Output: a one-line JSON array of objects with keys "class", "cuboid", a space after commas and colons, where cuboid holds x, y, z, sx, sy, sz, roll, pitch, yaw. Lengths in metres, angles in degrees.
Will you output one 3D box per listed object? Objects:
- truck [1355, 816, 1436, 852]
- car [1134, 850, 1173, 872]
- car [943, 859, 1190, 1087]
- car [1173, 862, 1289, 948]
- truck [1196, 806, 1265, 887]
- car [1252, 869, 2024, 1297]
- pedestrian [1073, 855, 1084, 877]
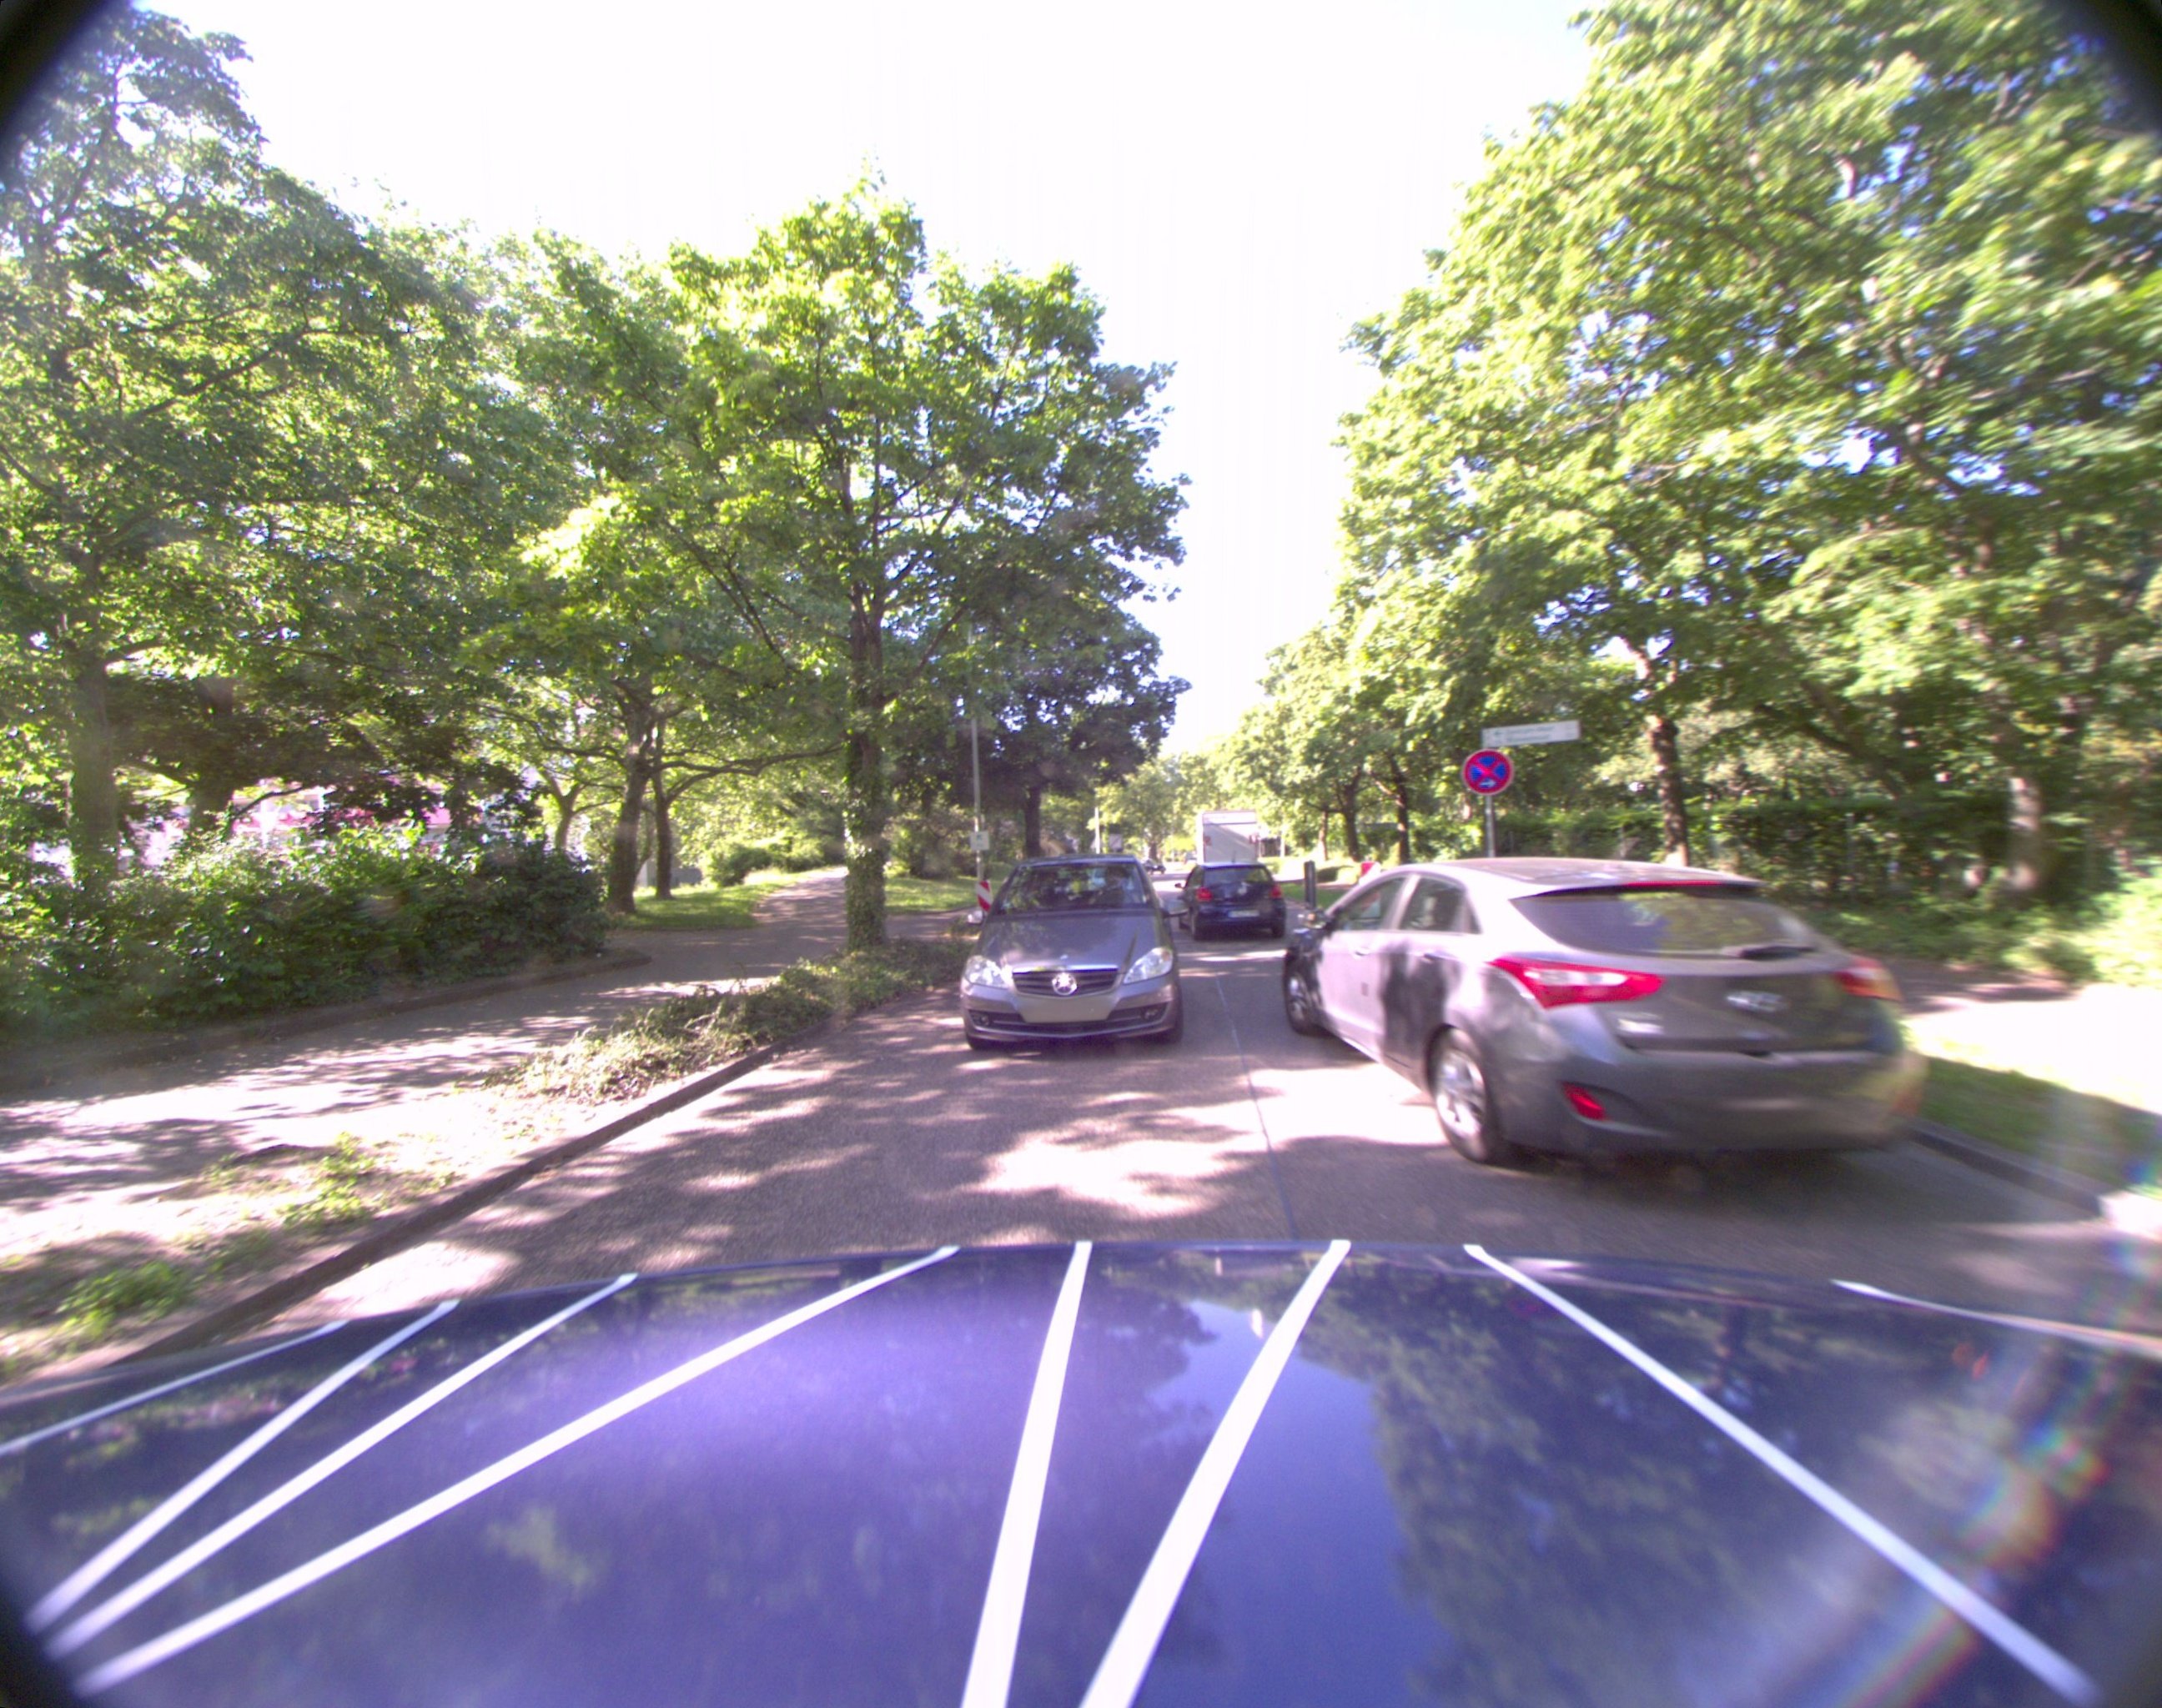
[{"class": "truck", "cuboid": [18.725, -1.136, 45.369, 3.995, 2.002, 2.205, -1, 0, 5]}, {"class": "car", "cuboid": [7.301, 0.725, 76.845, 2.002, 2.002, 3.992, -4, 0, -27]}, {"class": "car", "cuboid": [0.043, 0.893, 7.555, 1.733, 1.578, 4.001, -3, 0, 5]}, {"class": "car", "cuboid": [2.790, 0.899, 14.835, 1.604, 1.418, 3.652, -1, 0, 2]}, {"class": "truck", "cuboid": [7.558, -0.346, 39.358, 2.740, 3.620, 8.105, -3, 0, 7]}, {"class": "car", "cuboid": [2.551, 0.877, 4.918, 1.760, 1.445, 4.242, -1, 0, -2]}, {"class": "pedestrian", "cuboid": [-0.215, 1.012, 65.142, 0.792, 1.821, 0.671, -3, 0, 7]}]
